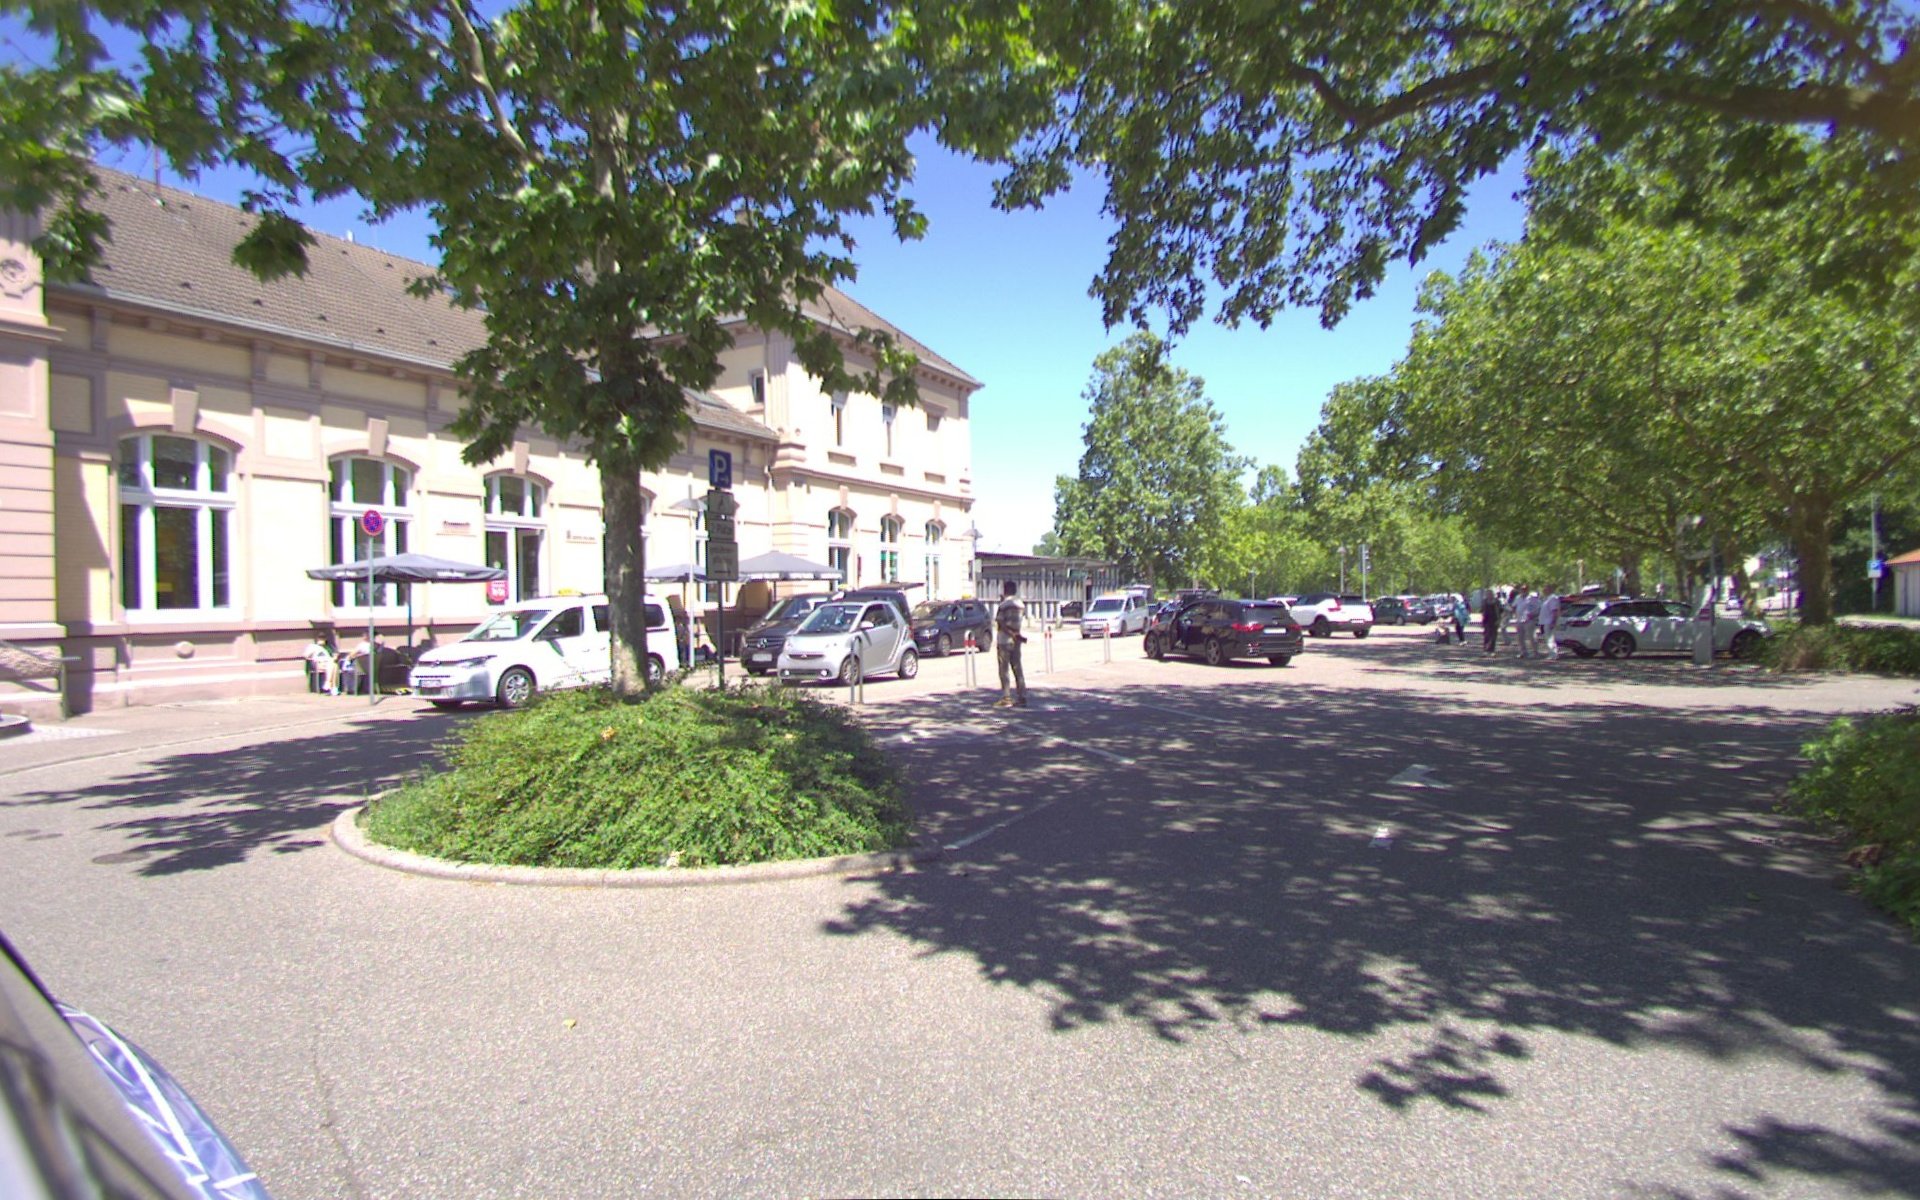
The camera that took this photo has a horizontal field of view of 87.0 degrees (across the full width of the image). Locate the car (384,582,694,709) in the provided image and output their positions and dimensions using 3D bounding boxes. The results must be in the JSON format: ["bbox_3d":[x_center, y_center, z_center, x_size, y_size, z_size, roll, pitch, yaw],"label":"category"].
[{"bbox_3d":[-7.060,0.729,17.657,1.805,1.880,5.094,-2,-2,26],"label":"car"}]

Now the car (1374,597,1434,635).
[{"bbox_3d":[23.830,0.834,54.468,1.717,1.908,3.994,-1,0,5],"label":"car"}]

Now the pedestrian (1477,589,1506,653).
[{"bbox_3d":[13.077,0.504,24.925,0.586,1.559,0.605,-1,0,24],"label":"pedestrian"}]

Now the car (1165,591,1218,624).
[{"bbox_3d":[14.210,0.418,62.063,1.992,1.803,4.206,-4,-1,29],"label":"car"}]

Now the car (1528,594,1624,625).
[{"bbox_3d":[31.407,0.471,51.655,3.823,1.471,1.636,-1,0,1],"label":"car"}]

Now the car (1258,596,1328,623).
[{"bbox_3d":[18.163,0.517,55.398,1.772,1.414,3.524,-1,-1,-21],"label":"car"}]

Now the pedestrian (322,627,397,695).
[{"bbox_3d":[-10.998,1.101,18.551,0.876,1.170,0.845,0,0,24],"label":"pedestrian"}]

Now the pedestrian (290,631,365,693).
[{"bbox_3d":[-11.841,1.138,18.959,0.876,1.088,0.845,0,0,25],"label":"pedestrian"}]

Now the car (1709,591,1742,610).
[{"bbox_3d":[76.236,0.063,100.784,1.890,1.787,3.963,-1,-1,27],"label":"car"}]

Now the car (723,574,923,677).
[{"bbox_3d":[-3.064,0.584,24.280,2.080,2.140,5.780,-2,-2,23],"label":"car"}]

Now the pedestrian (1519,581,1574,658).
[{"bbox_3d":[13.907,0.451,24.012,0.829,1.784,0.849,-1,0,8],"label":"pedestrian"}]

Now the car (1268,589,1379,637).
[{"bbox_3d":[13.435,0.421,37.681,1.770,1.617,4.076,-3,1,-17],"label":"car"}]

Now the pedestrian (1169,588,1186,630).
[{"bbox_3d":[10.479,0.438,48.778,0.625,2.005,0.612,-3,-1,23],"label":"pedestrian"}]

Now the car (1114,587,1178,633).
[{"bbox_3d":[8.996,0.454,48.740,1.991,2.005,4.567,-3,-1,23],"label":"car"}]

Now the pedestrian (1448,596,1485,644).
[{"bbox_3d":[15.593,0.605,31.161,0.787,1.435,0.693,-1,-1,-32],"label":"pedestrian"}]

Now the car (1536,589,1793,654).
[{"bbox_3d":[16.838,0.515,24.435,4.725,1.427,1.781,-1,0,10],"label":"car"}]

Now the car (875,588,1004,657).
[{"bbox_3d":[-0.503,0.670,30.355,2.067,1.854,4.803,-2,-2,23],"label":"car"}]

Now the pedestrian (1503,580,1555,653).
[{"bbox_3d":[14.059,0.405,25.037,0.829,1.784,0.849,-1,0,10],"label":"pedestrian"}]

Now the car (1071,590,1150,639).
[{"bbox_3d":[6.476,0.591,43.079,1.991,1.854,5.277,-3,-1,23],"label":"car"}]

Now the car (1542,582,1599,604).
[{"bbox_3d":[42.000,-0.485,69.697,3.140,1.405,1.454,-2,0,23],"label":"car"}]

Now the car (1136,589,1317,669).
[{"bbox_3d":[5.903,0.574,23.091,1.770,1.554,4.544,-3,1,-18],"label":"car"}]

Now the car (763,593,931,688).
[{"bbox_3d":[-2.034,0.687,18.894,1.596,1.605,3.074,-2,0,31],"label":"car"}]

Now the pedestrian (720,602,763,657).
[{"bbox_3d":[-6.297,0.843,29.217,0.876,1.555,0.845,0,0,25],"label":"pedestrian"}]

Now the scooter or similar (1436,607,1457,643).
[{"bbox_3d":[15.234,0.772,31.677,0.430,1.110,0.404,-1,-1,-32],"label":"scooter or similar"}]

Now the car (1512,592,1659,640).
[{"bbox_3d":[20.864,0.528,33.855,3.823,1.471,1.636,-1,0,1],"label":"car"}]

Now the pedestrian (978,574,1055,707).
[{"bbox_3d":[0.755,0.531,13.793,0.760,1.730,0.817,-1,-1,-18],"label":"pedestrian"}]

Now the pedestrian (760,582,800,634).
[{"bbox_3d":[-5.452,0.246,30.676,0.876,1.555,0.845,0,0,25],"label":"pedestrian"}]
